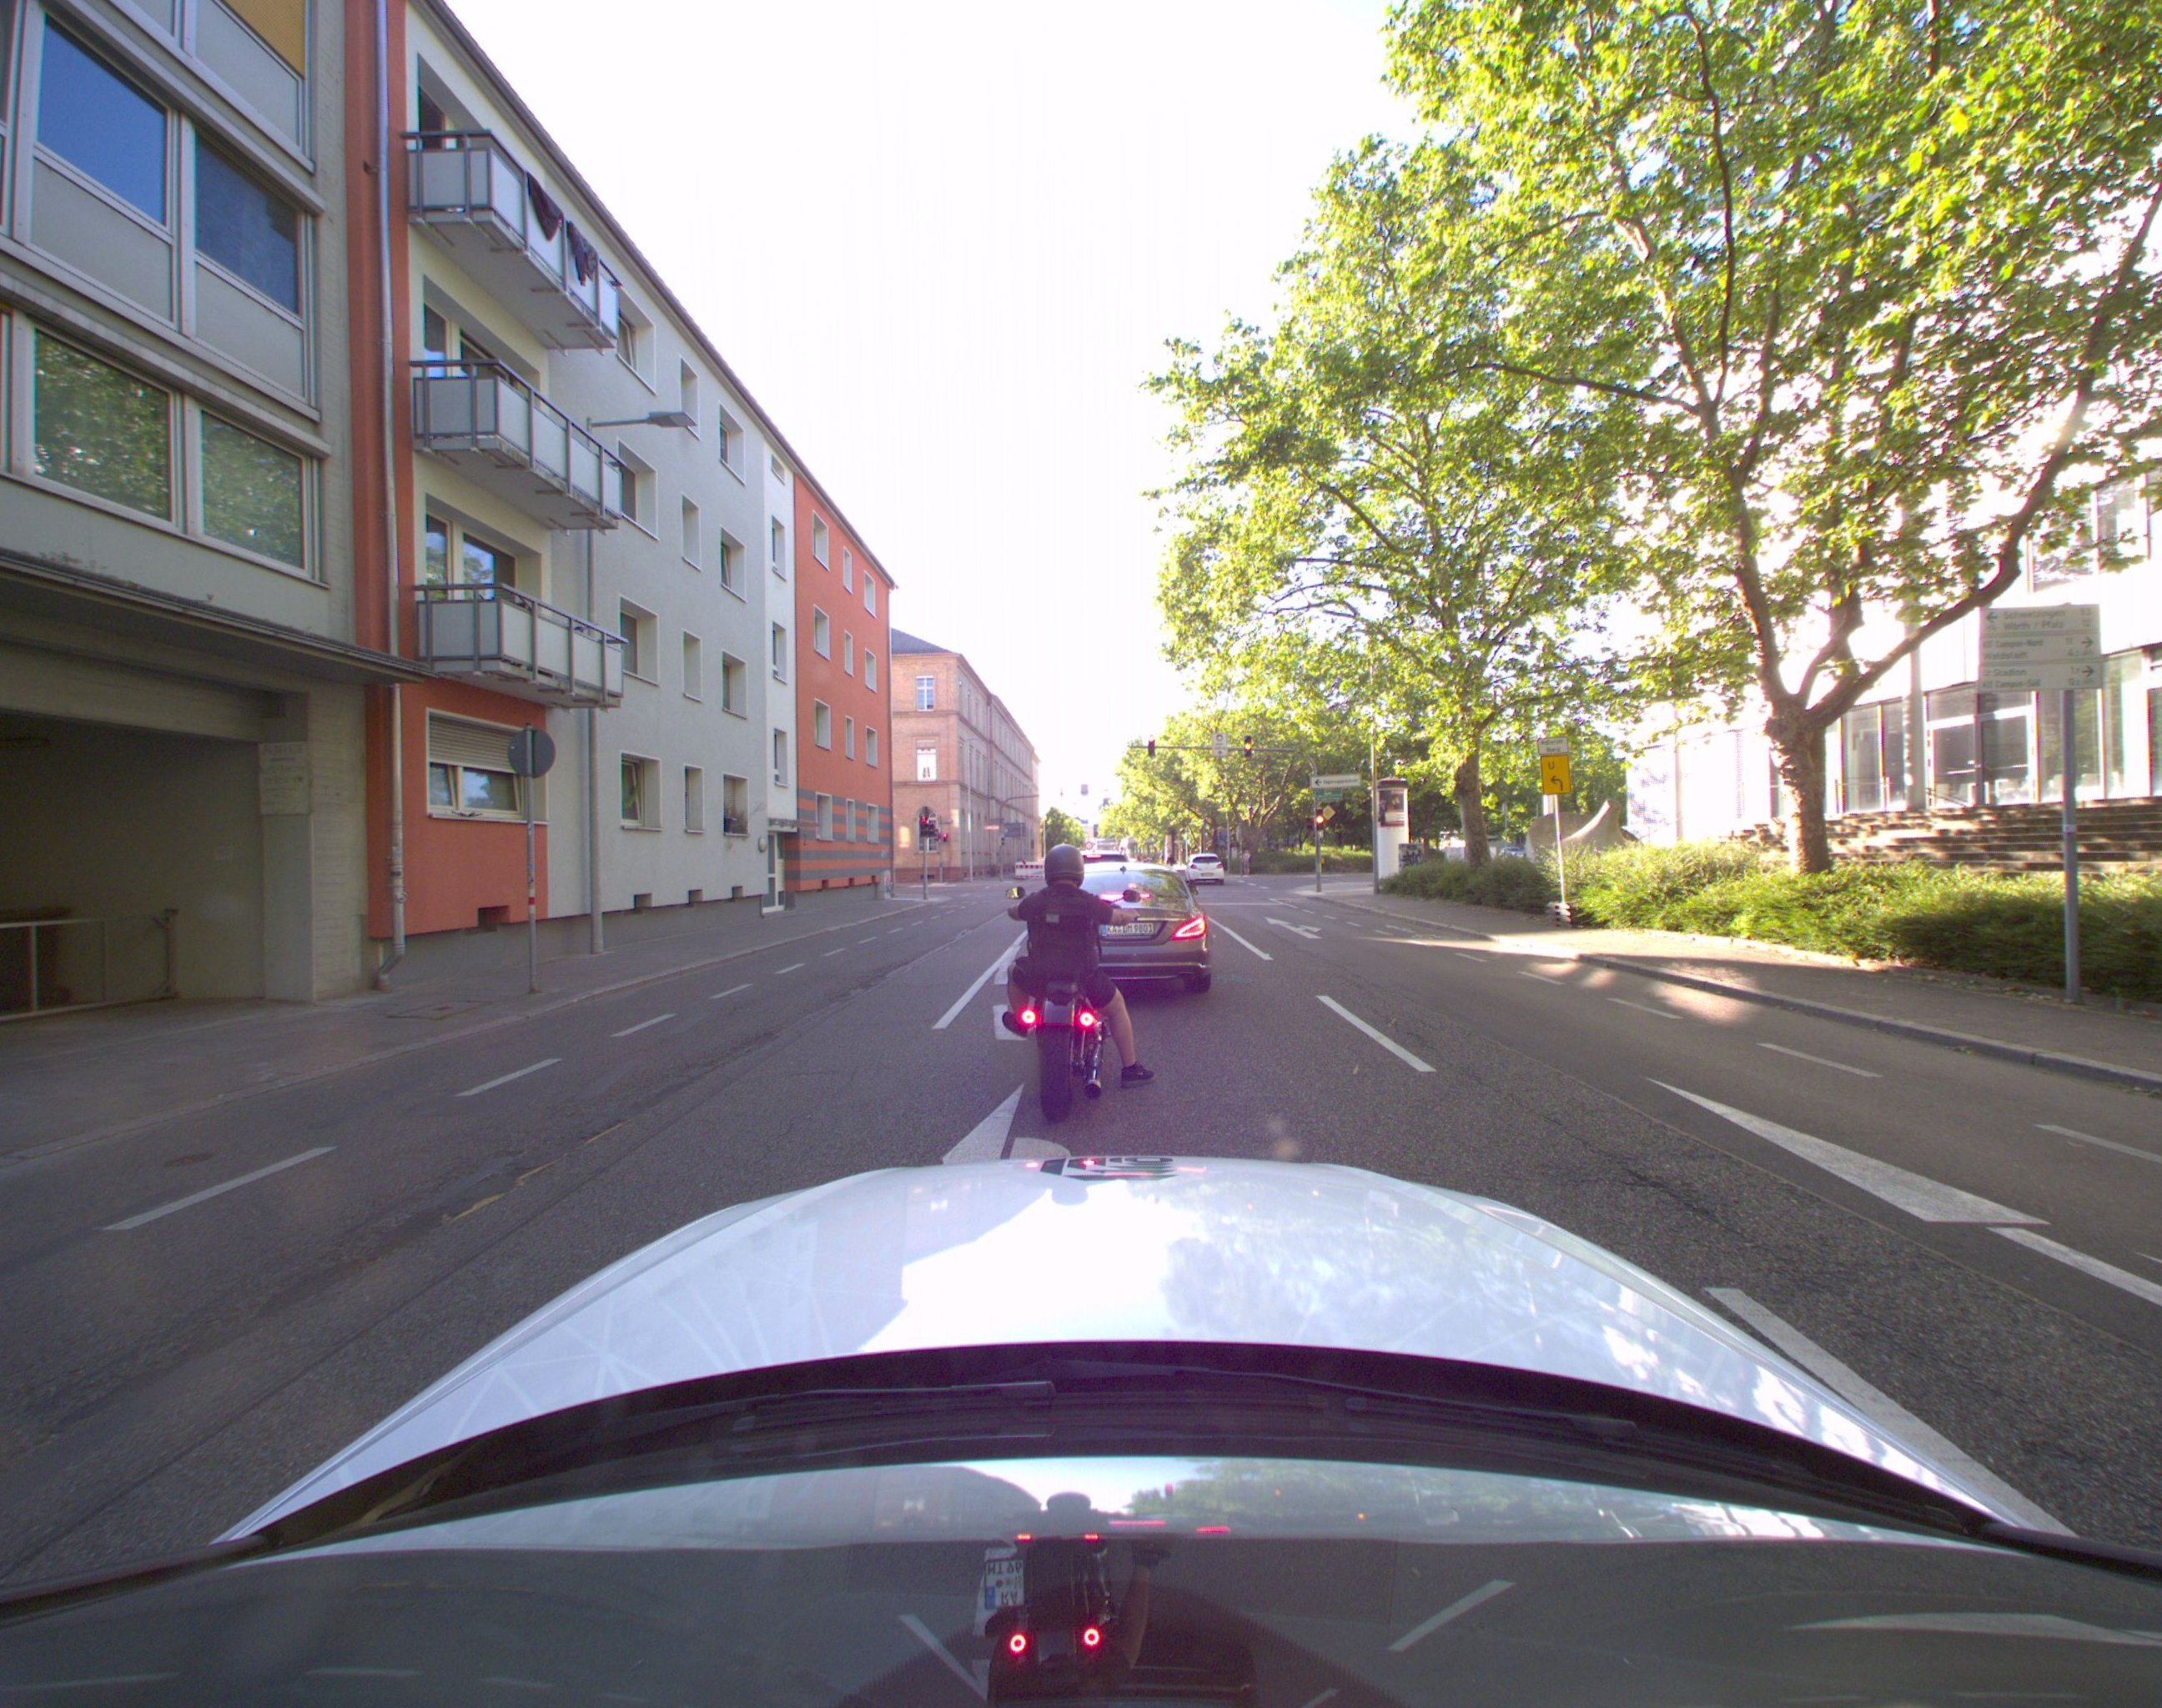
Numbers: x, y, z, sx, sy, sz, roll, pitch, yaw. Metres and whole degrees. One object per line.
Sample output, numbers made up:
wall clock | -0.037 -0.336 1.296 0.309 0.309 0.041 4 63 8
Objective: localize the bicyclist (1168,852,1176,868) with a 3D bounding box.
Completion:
bicyclist | 8.825 0.580 78.764 0.653 1.530 0.852 0 -1 1

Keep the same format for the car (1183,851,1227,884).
car | 5.915 0.635 39.199 1.672 1.498 3.687 0 0 2

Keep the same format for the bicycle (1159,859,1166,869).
bicycle | 8.905 1.091 89.192 0.653 1.111 2.186 0 -1 2

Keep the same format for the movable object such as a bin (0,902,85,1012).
movable object such as a bin | -11.226 1.072 8.643 0.487 1.088 0.654 -1 0 1

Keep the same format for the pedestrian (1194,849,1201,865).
pedestrian | 11.391 0.292 79.767 0.590 1.578 0.527 0 -1 2

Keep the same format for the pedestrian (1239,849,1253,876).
pedestrian | 10.751 0.542 53.096 0.574 1.774 0.619 1 -1 -33

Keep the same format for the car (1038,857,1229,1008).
car | 0.562 0.765 9.783 1.821 1.420 3.816 -1 0 2

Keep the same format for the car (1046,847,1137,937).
car | 0.112 0.712 16.902 1.627 1.651 3.845 0 0 -4

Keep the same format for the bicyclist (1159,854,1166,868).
bicyclist | 8.905 0.741 89.168 0.653 1.530 0.906 0 -1 1

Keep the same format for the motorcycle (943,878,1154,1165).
motorcycle | -0.120 0.863 5.338 1.008 1.306 2.673 -1 0 2

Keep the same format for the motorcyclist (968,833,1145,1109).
motorcyclist | -0.124 0.688 5.501 1.008 1.602 1.406 -1 0 1

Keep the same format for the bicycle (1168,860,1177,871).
bicycle | 8.822 1.123 78.735 0.654 1.070 1.927 0 -1 1
